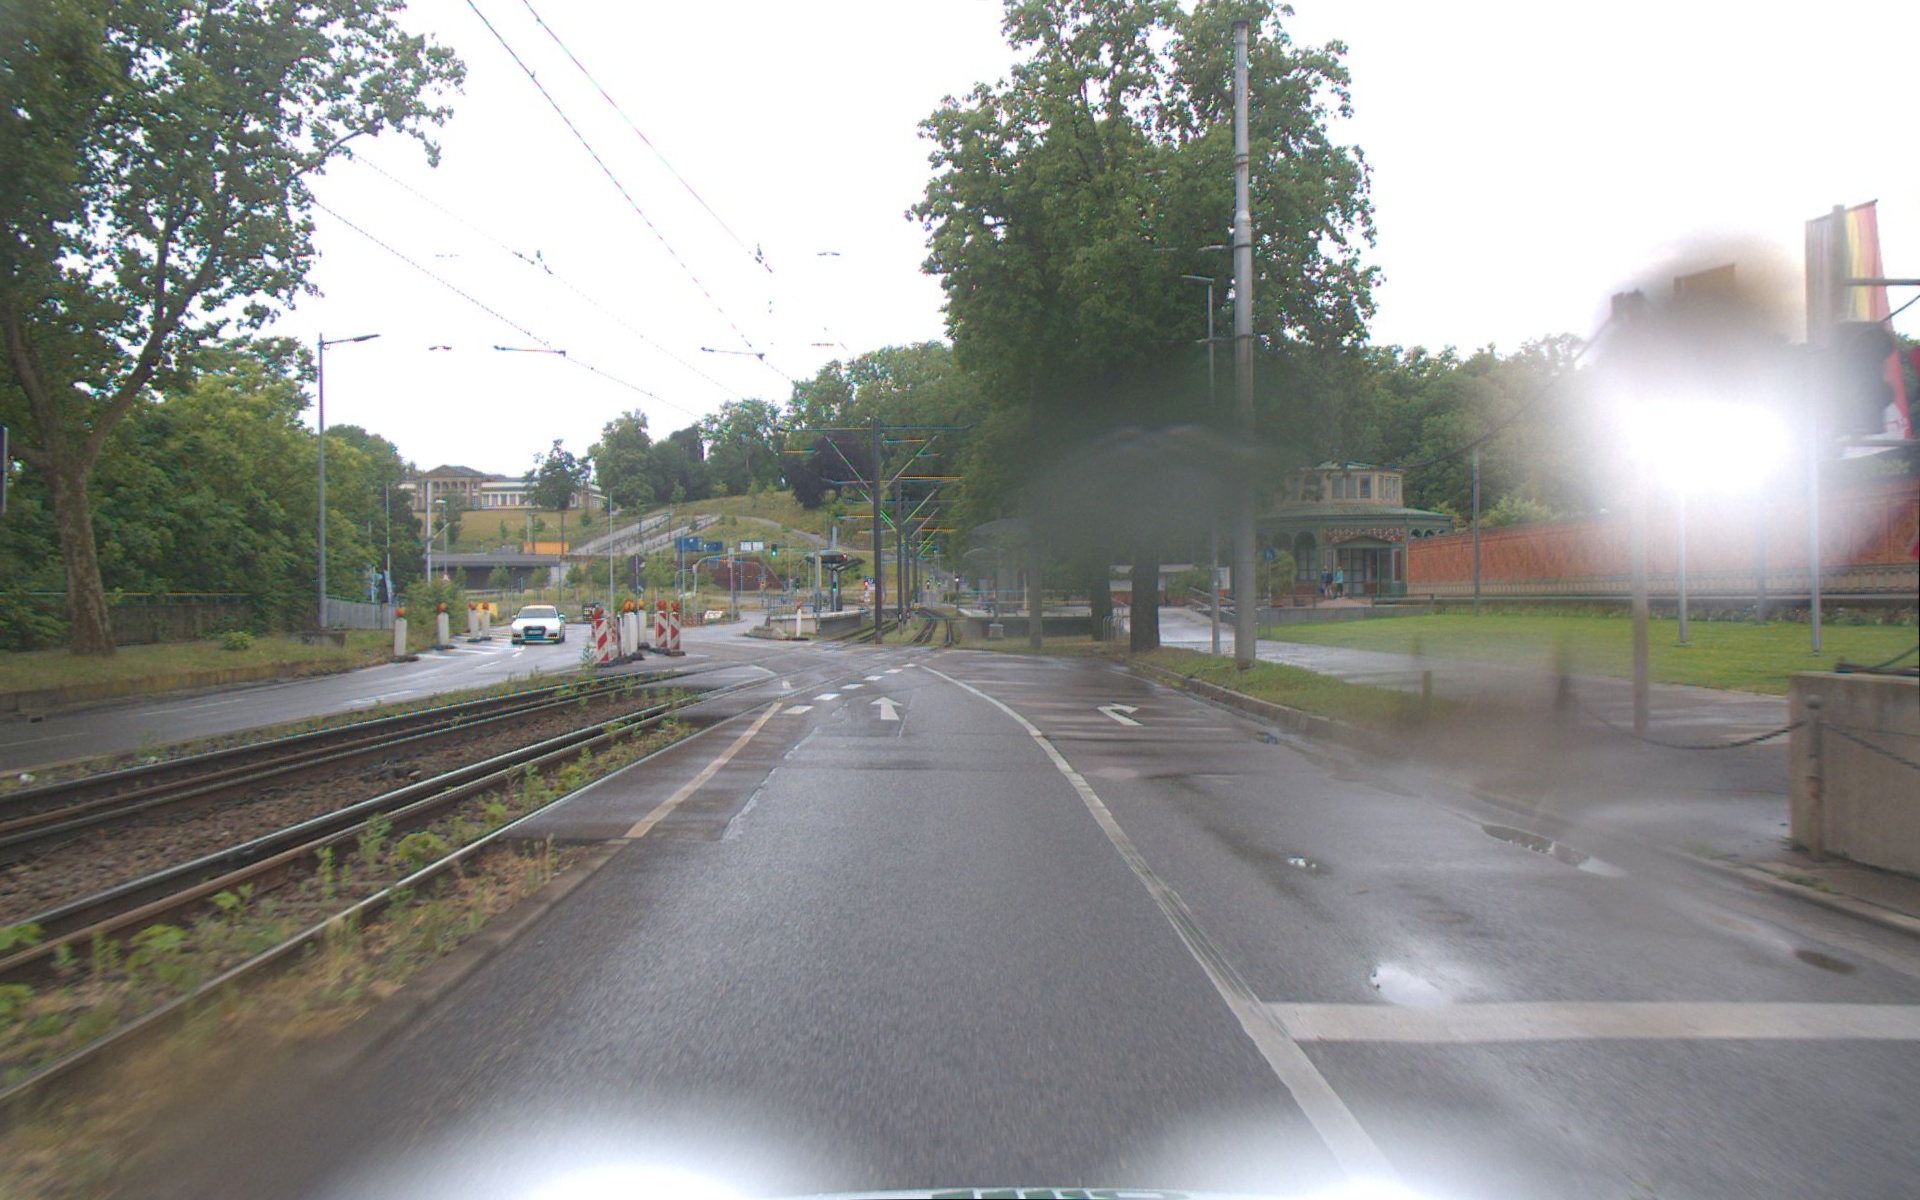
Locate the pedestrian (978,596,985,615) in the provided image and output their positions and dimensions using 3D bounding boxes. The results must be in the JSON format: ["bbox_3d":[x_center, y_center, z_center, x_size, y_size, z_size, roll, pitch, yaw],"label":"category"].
[{"bbox_3d":[1.382,0.354,107.483,0.428,1.247,0.551,-2,0,0],"label":"pedestrian"}]

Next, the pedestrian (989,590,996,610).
[{"bbox_3d":[2.115,0.008,107.901,0.428,1.247,0.551,-2,0,0],"label":"pedestrian"}]

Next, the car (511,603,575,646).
[{"bbox_3d":[-16.079,0.912,63.937,1.676,1.525,4.714,-2,0,-6],"label":"car"}]

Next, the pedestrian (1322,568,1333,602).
[{"bbox_3d":[19.123,-0.773,86.073,0.520,1.741,0.696,1,-2,11],"label":"pedestrian"}]

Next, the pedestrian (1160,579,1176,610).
[{"bbox_3d":[12.477,-0.353,99.293,0.706,1.821,1.182,-2,0,0],"label":"pedestrian"}]

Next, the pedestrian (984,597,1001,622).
[{"bbox_3d":[1.525,0.436,77.865,0.590,1.138,0.518,4,-2,-17],"label":"pedestrian"}]

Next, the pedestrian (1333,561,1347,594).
[{"bbox_3d":[19.638,-1.140,85.507,0.540,1.686,0.468,-1,-1,34],"label":"pedestrian"}]
